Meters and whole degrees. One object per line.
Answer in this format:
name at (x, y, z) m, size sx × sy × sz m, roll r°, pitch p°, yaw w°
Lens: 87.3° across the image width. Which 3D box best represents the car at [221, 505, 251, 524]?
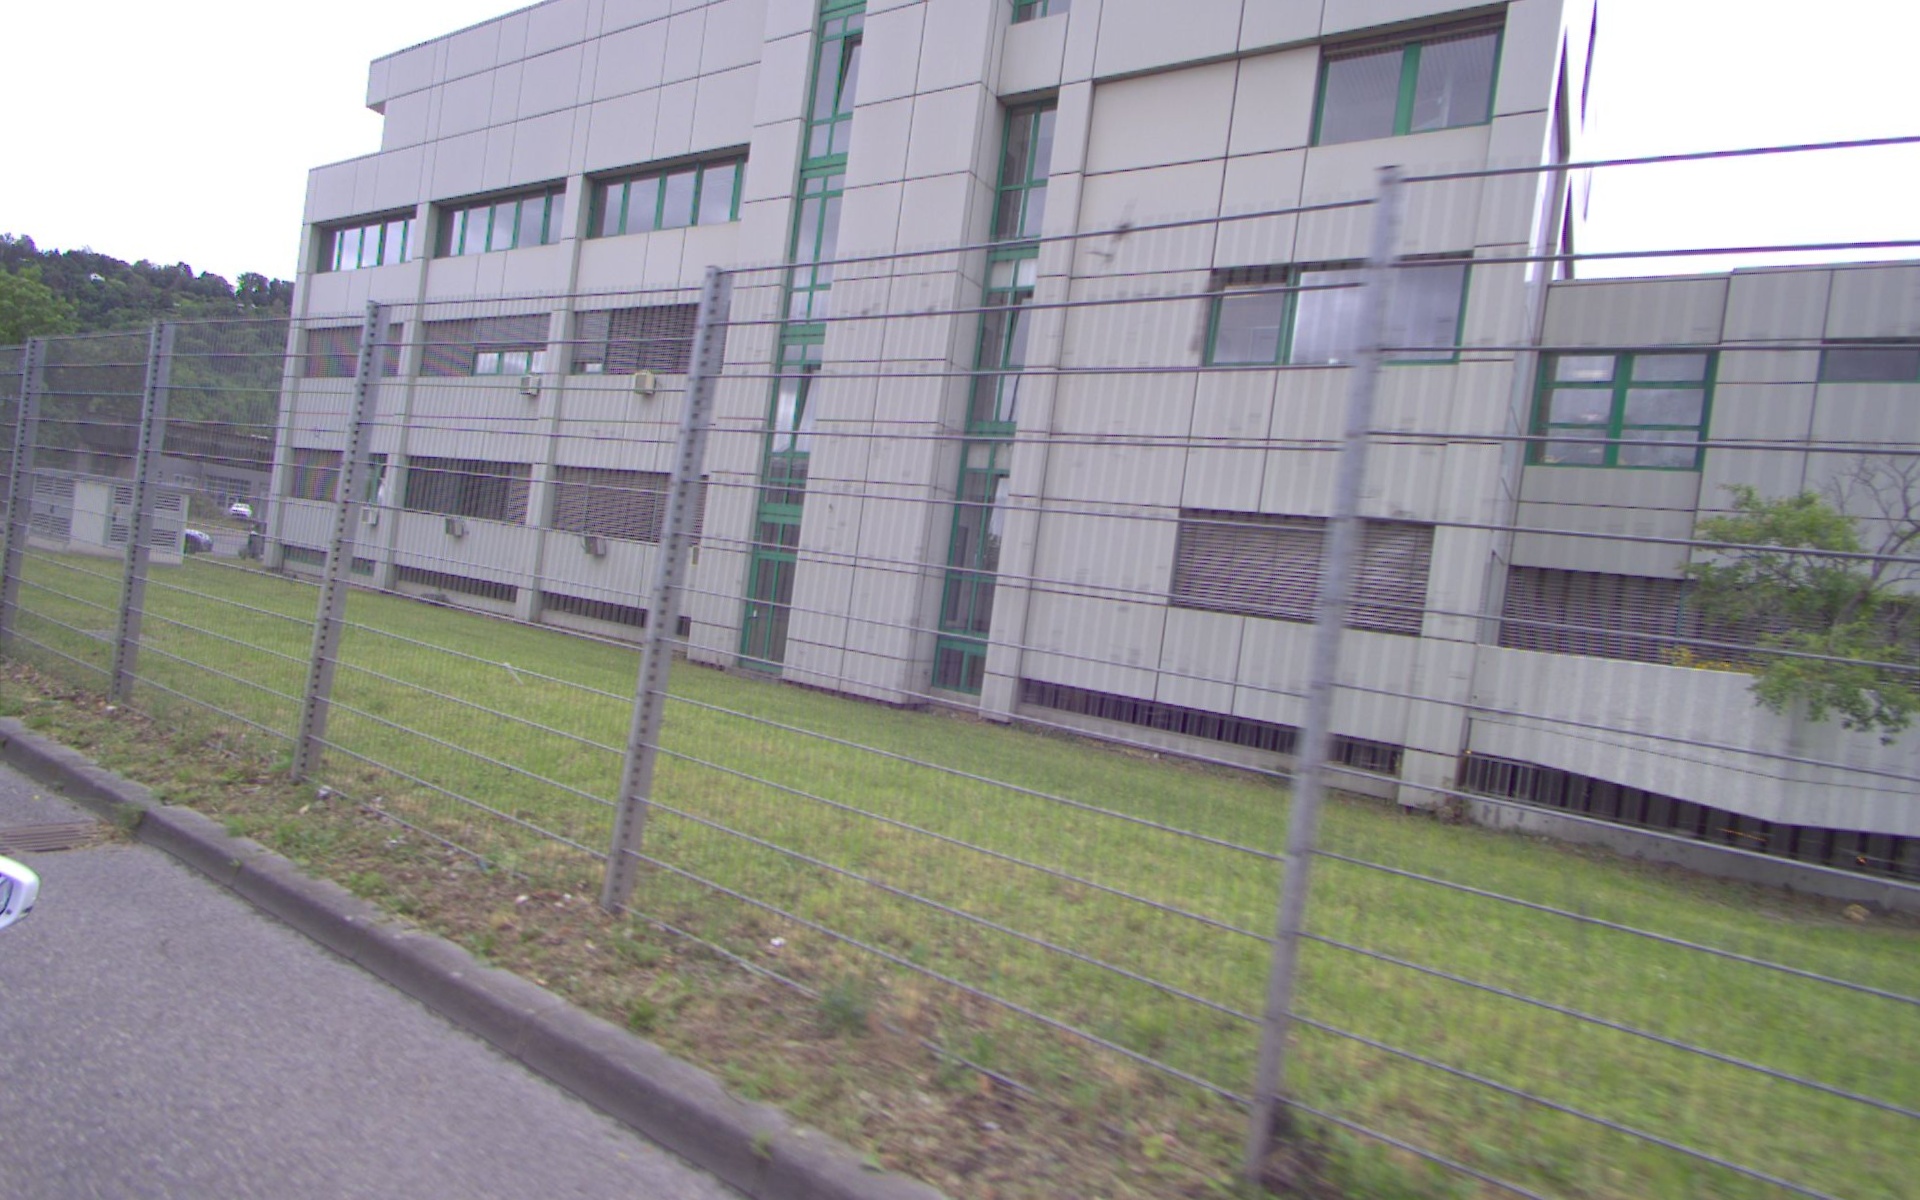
car at (-71.154, -8.380, 98.907) m, size 1.981 × 1.554 × 3.965 m, roll 8°, pitch 0°, yaw -32°
